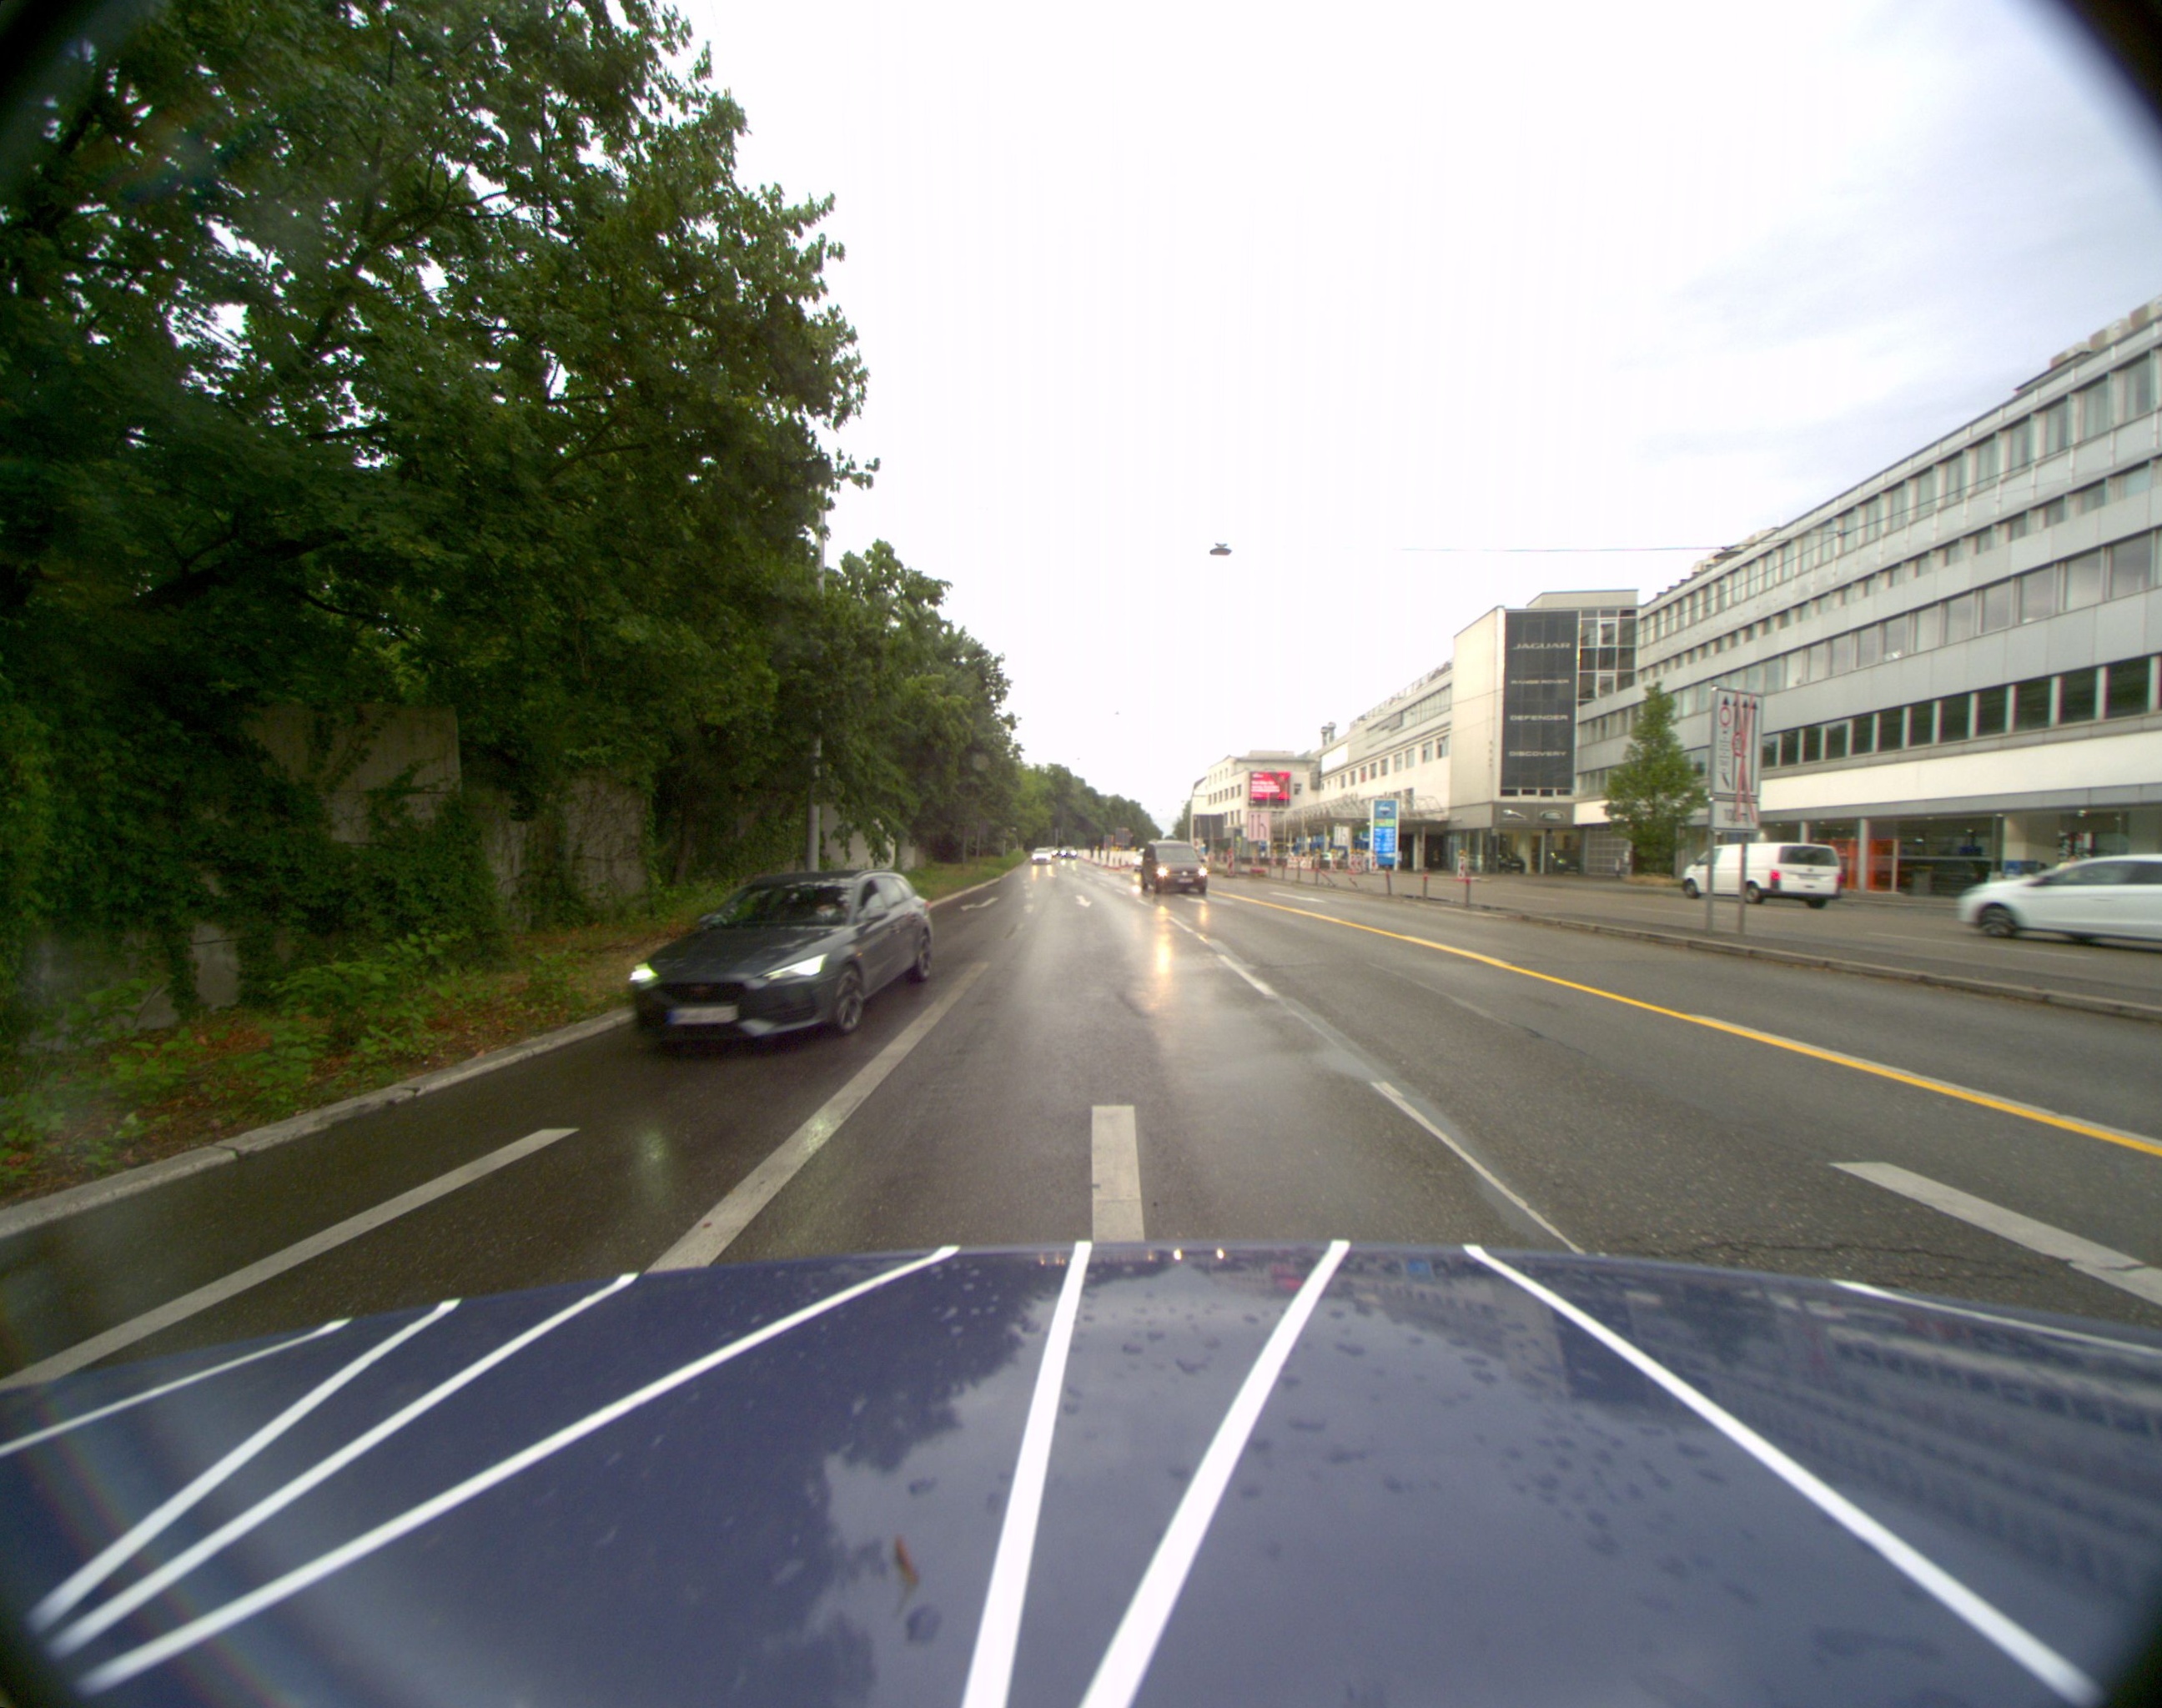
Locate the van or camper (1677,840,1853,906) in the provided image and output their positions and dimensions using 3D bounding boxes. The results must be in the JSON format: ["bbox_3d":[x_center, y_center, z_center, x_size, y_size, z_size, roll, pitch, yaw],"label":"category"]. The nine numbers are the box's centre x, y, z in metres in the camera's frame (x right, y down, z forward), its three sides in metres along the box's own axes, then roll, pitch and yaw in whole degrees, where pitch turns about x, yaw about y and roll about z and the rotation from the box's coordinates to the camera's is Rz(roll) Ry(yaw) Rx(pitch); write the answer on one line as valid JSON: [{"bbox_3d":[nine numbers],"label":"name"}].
[{"bbox_3d":[21.817,0.520,24.550,1.939,1.913,4.687,0,1,8],"label":"van or camper"}]

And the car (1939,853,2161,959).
[{"bbox_3d":[16.367,0.800,11.738,1.806,1.523,3.763,4,0,-3],"label":"car"}]

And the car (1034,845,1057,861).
[{"bbox_3d":[-3.321,-0.109,72.057,1.814,1.444,4.333,-2,1,2],"label":"car"}]

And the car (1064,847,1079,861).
[{"bbox_3d":[-1.150,-0.050,95.269,1.814,1.590,4.333,-2,1,0],"label":"car"}]

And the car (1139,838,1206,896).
[{"bbox_3d":[3.144,0.402,26.906,1.905,1.804,4.430,-2,1,2],"label":"car"}]

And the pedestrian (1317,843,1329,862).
[{"bbox_3d":[23.461,-0.147,73.688,0.895,1.804,0.941,-2,1,5],"label":"pedestrian"}]

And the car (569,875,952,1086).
[{"bbox_3d":[-2.796,1.021,7.904,1.752,1.395,4.415,-3,0,5],"label":"car"}]

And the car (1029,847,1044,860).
[{"bbox_3d":[-5.987,-0.122,102.345,1.814,1.590,4.332,-2,1,-2],"label":"car"}]

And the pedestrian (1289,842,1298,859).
[{"bbox_3d":[23.901,-0.399,85.614,0.894,1.804,0.942,-2,1,14],"label":"pedestrian"}]

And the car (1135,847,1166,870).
[{"bbox_3d":[4.651,0.265,50.484,1.770,1.407,4.335,-2,1,8],"label":"car"}]

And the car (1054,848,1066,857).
[{"bbox_3d":[-3.910,-0.280,142.243,1.814,1.590,4.333,-2,1,2],"label":"car"}]

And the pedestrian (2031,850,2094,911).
[{"bbox_3d":[29.301,0.786,22.689,0.761,1.765,0.864,-2,1,8],"label":"pedestrian"}]
